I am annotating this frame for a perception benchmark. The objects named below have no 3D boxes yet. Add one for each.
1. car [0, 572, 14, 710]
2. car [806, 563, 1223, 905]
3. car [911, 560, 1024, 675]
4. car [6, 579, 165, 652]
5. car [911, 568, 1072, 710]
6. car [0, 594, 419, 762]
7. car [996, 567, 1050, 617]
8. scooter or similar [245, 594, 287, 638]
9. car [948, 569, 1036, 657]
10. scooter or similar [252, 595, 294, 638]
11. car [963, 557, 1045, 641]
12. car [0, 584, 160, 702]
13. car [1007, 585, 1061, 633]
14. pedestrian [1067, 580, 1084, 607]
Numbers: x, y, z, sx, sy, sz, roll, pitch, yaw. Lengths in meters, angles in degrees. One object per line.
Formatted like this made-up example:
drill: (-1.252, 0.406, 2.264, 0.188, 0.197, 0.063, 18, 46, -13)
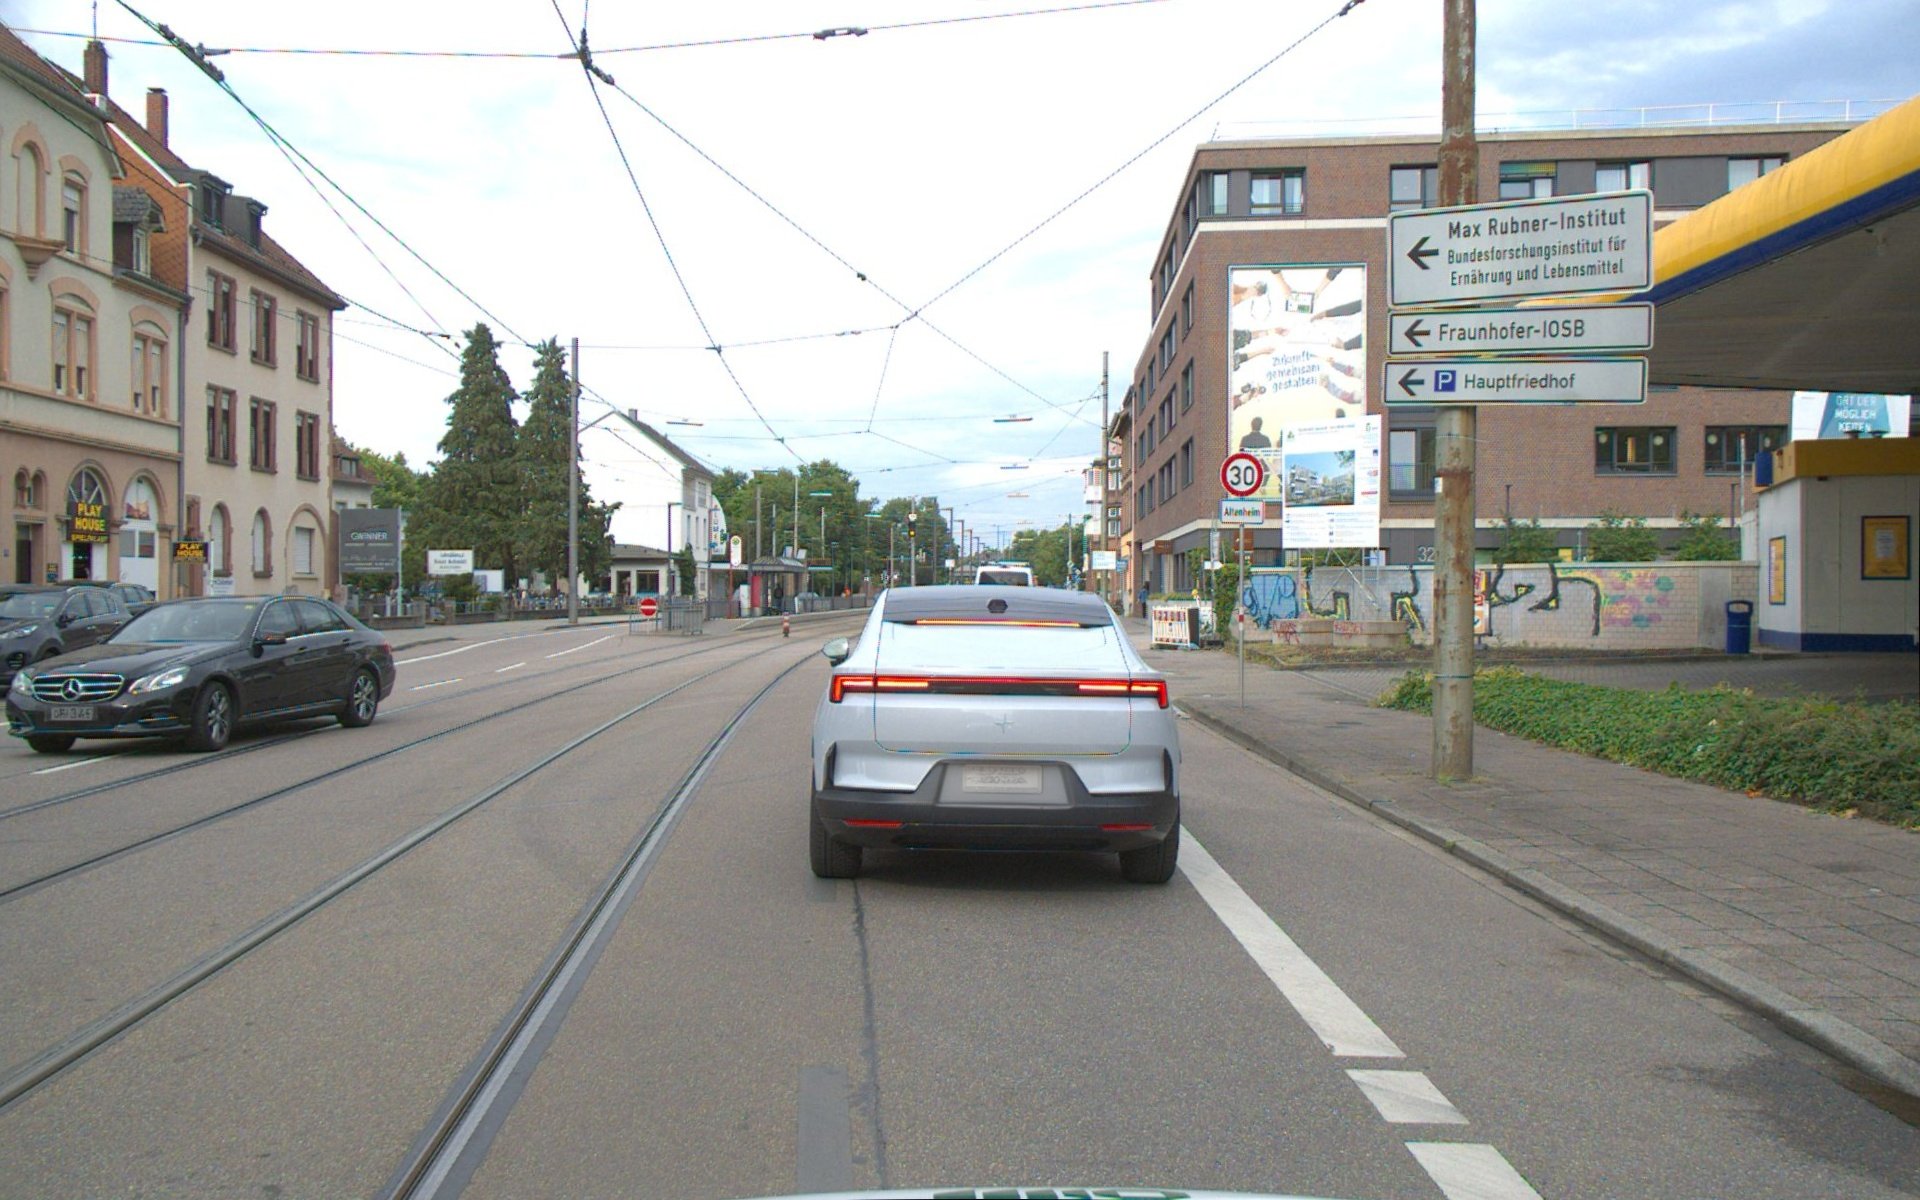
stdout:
car: (-14.242, 0.533, 20.752, 1.952, 1.920, 4.996, 1, 0, -2)
car: (0.096, 0.630, 9.863, 1.943, 1.577, 4.179, 1, 0, -5)
car: (0.081, 0.331, 32.150, 1.954, 2.049, 3.998, 1, 0, -3)
car: (-19.759, 0.348, 37.550, 1.718, 1.527, 3.744, 1, 0, -3)
car: (0.357, 0.520, 23.251, 1.930, 1.787, 3.835, 1, 0, -4)
car: (-7.567, 0.675, 17.024, 1.905, 1.452, 4.890, 0, 0, 7)
car: (2.859, -0.352, 75.811, 2.096, 2.183, 4.741, 1, 0, -2)
scooter or similar: (-19.731, 0.460, 47.018, 1.041, 1.209, 0.314, 2, -1, -37)
car: (0.746, 0.326, 41.121, 1.953, 2.049, 3.999, 1, 0, -2)
scooter or similar: (-19.379, 0.464, 46.646, 1.041, 1.209, 0.314, 2, -1, -37)
car: (1.319, -0.019, 52.016, 2.172, 2.466, 4.948, 1, 0, -3)
car: (-14.769, 0.642, 26.705, 1.808, 1.748, 4.190, 1, 0, -3)
car: (2.993, 0.373, 67.536, 1.837, 1.855, 4.094, 1, 0, -2)
pedestrian: (8.736, -0.496, 125.279, 1.194, 2.049, 0.933, -1, 0, -1)
